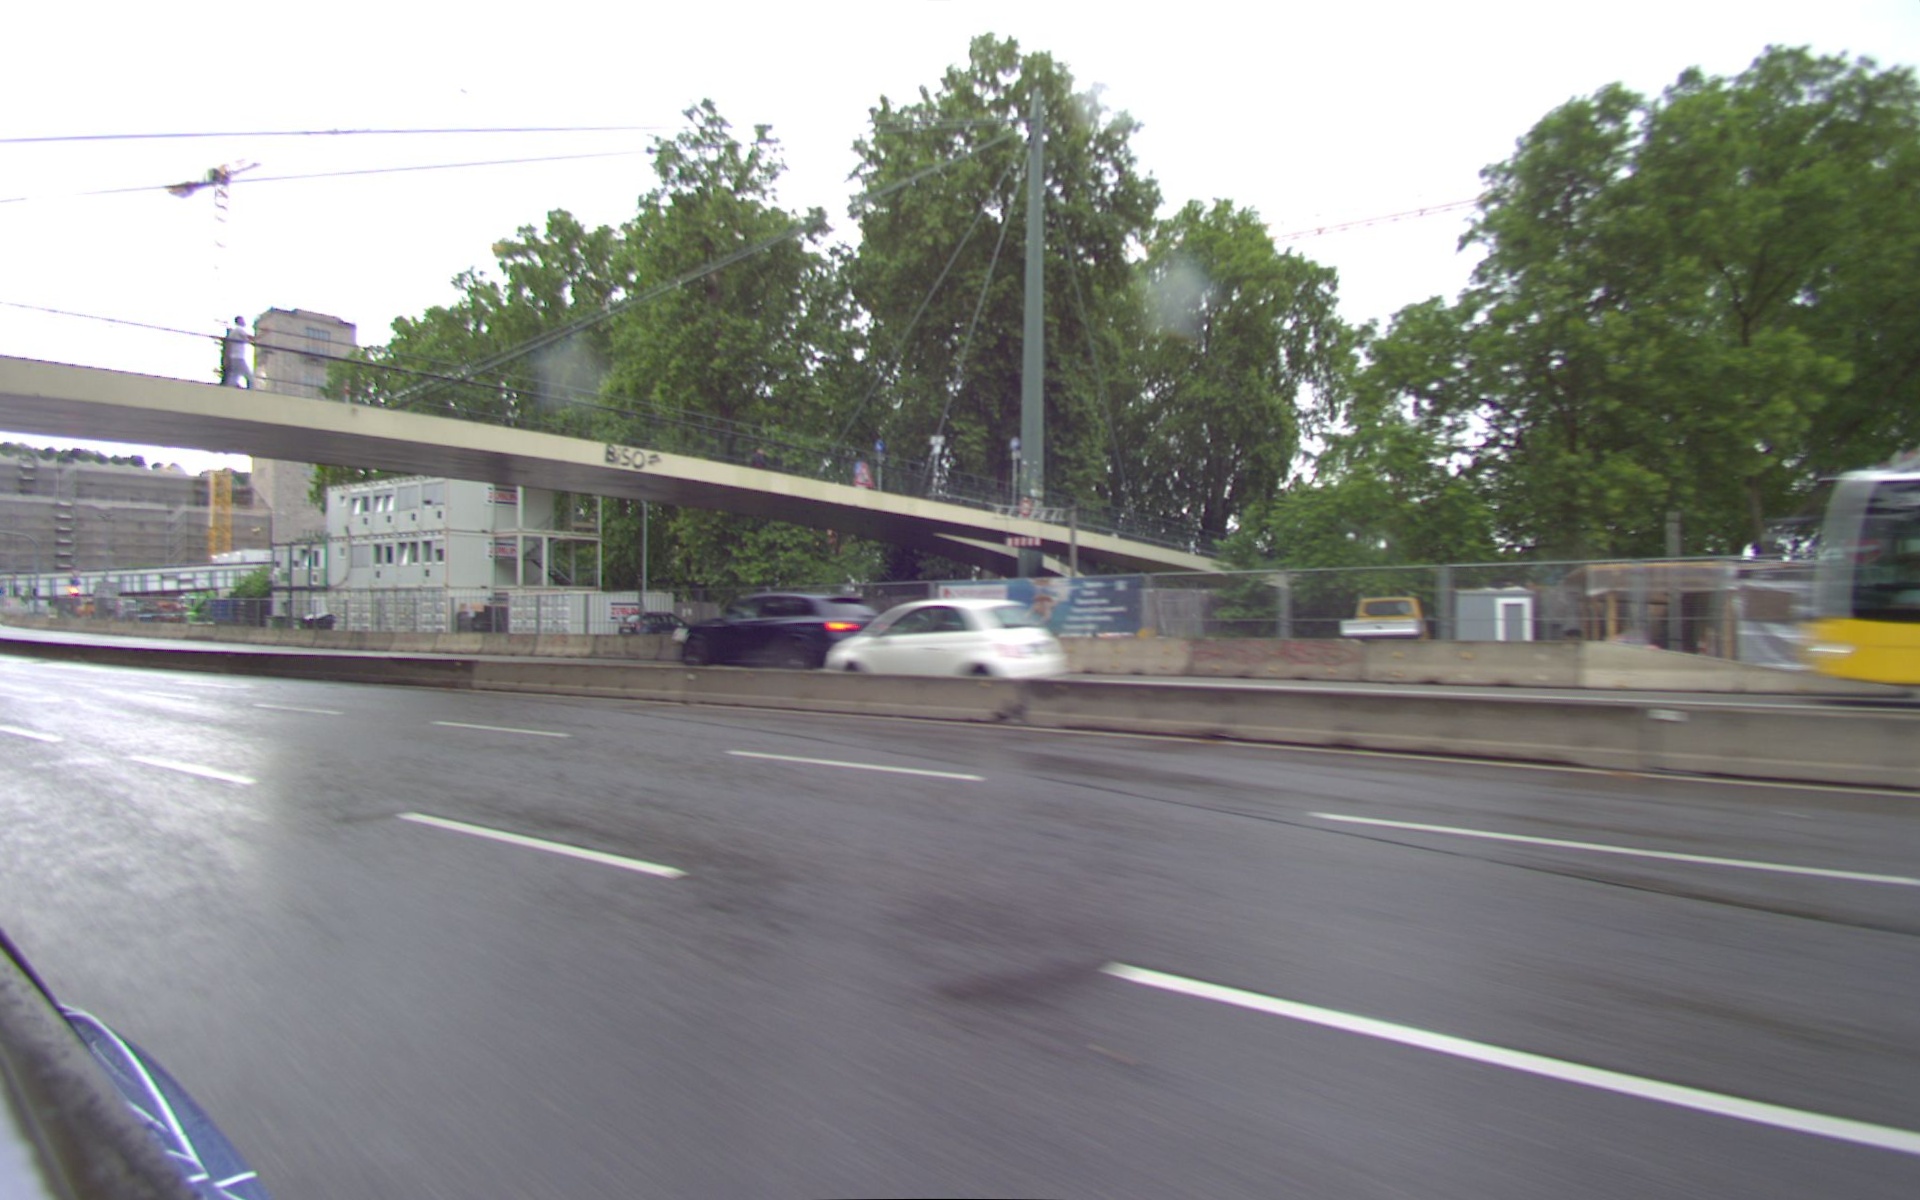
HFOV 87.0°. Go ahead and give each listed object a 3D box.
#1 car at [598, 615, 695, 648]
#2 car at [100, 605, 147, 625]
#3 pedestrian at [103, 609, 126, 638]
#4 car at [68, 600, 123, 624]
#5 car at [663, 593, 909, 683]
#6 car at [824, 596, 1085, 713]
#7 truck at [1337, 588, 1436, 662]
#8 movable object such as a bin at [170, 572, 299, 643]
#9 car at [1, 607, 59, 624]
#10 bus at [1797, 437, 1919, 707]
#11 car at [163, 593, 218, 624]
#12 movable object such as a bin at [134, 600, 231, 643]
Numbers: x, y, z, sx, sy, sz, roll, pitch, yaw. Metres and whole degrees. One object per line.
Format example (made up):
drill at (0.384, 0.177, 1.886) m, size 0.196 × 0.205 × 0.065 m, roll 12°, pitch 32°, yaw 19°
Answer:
car at (-14.541, 1.442, 47.073) m, size 1.994 × 1.454 × 3.955 m, roll 0°, pitch -1°, yaw 33°
car at (-75.533, 1.353, 91.373) m, size 4.782 × 1.775 × 1.831 m, roll 0°, pitch -1°, yaw 32°
pedestrian at (-61.071, 1.673, 73.079) m, size 1.174 × 2.029 × 1.166 m, roll 0°, pitch 0°, yaw 44°
car at (-80.629, 1.143, 94.369) m, size 5.558 × 2.117 × 1.980 m, roll 0°, pitch -3°, yaw 29°
car at (-3.597, 0.768, 20.595) m, size 4.838 × 1.643 × 2.065 m, roll -1°, pitch -2°, yaw 33°
car at (-0.117, 0.721, 14.701) m, size 3.443 × 1.501 × 1.694 m, roll 0°, pitch -1°, yaw 36°
truck at (12.880, 0.757, 30.347) m, size 2.155 × 2.029 × 5.211 m, roll -1°, pitch -2°, yaw 30°
movable object such as a bin at (-52.472, 0.562, 73.197) m, size 8.333 × 4.839 × 4.713 m, roll 0°, pitch -1°, yaw 32°
car at (-111.428, 1.883, 121.292) m, size 4.951 × 2.029 × 2.002 m, roll 1°, pitch -1°, yaw -4°
bus at (15.152, -0.346, 11.172) m, size 8.784 × 3.209 × 2.783 m, roll -1°, pitch -2°, yaw 34°
car at (-78.452, 0.883, 103.165) m, size 6.147 × 3.089 × 2.257 m, roll 0°, pitch -1°, yaw 31°
movable object such as a bin at (-60.009, 1.655, 78.106) m, size 6.368 × 3.152 × 3.902 m, roll 0°, pitch -1°, yaw 32°
